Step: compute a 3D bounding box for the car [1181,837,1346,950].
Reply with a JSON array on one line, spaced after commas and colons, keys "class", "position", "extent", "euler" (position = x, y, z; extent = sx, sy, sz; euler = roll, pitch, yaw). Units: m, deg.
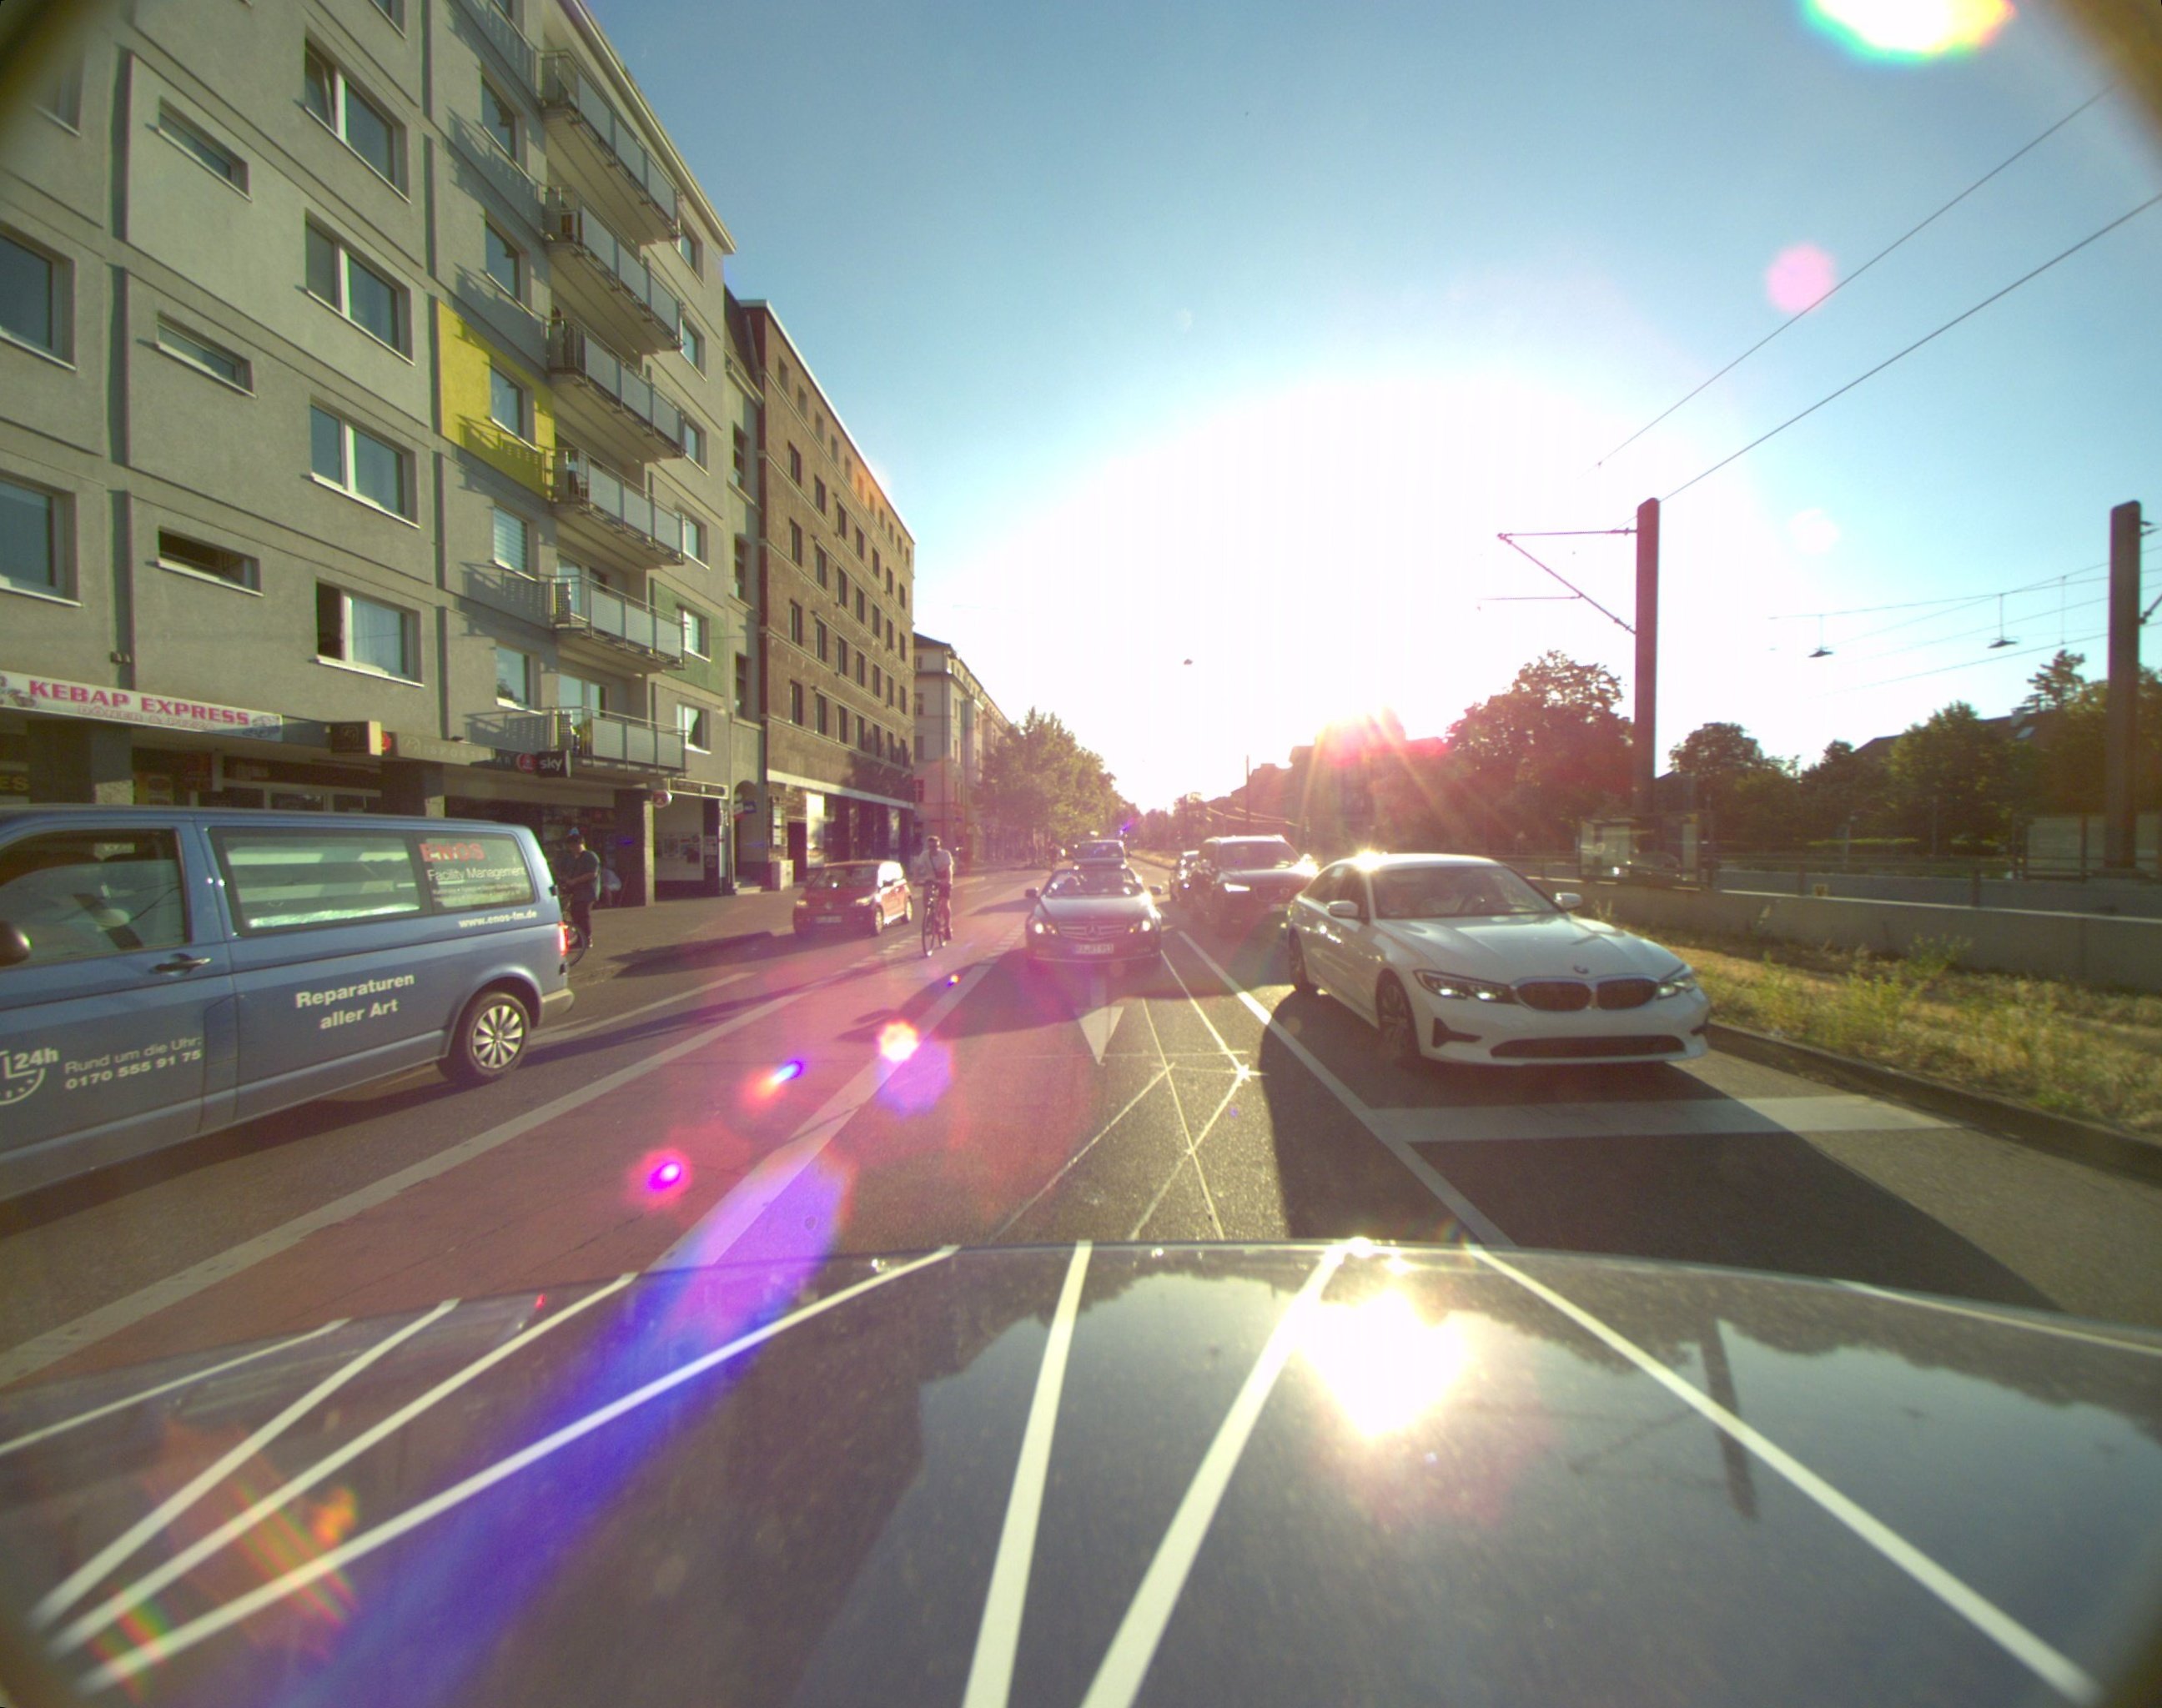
[{"class": "car", "position": [3.237, 0.606, 14.589], "extent": [1.956, 1.702, 4.850], "euler": [-3, 1, 0]}]

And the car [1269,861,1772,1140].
[{"class": "car", "position": [3.039, 0.861, 6.581], "extent": [1.842, 1.393, 4.584], "euler": [-3, 1, 3]}]

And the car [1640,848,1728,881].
[{"class": "car", "position": [33.128, 0.550, 41.913], "extent": [1.714, 1.685, 4.090], "euler": [0, 1, 3]}]

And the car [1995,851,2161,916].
[{"class": "car", "position": [27.406, 0.726, 20.257], "extent": [1.714, 1.531, 3.673], "euler": [0, 1, 3]}]

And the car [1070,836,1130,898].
[{"class": "car", "position": [0.670, 0.393, 26.846], "extent": [1.919, 1.978, 4.946], "euler": [-1, 1, 1]}]

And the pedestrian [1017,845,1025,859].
[{"class": "pedestrian", "position": [-6.241, -0.260, 78.619], "extent": [0.728, 1.431, 0.924], "euler": [-1, 1, 1]}]

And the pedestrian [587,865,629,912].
[{"class": "pedestrian", "position": [-12.166, 0.879, 19.561], "extent": [0.606, 1.145, 0.727], "euler": [-1, 1, 2]}]

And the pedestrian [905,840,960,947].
[{"class": "pedestrian", "position": [-2.347, 0.604, 12.097], "extent": [0.640, 1.639, 0.843], "euler": [-2, 1, 2]}]

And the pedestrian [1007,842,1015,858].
[{"class": "pedestrian", "position": [-7.244, -0.395, 78.897], "extent": [0.728, 1.666, 0.924], "euler": [-1, 1, 1]}]

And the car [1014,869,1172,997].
[{"class": "car", "position": [0.185, 0.934, 10.705], "extent": [1.776, 1.300, 4.240], "euler": [-1, 1, 1]}]

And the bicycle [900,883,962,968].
[{"class": "bicycle", "position": [-2.347, 1.083, 12.061], "extent": [0.530, 1.152, 1.849], "euler": [-2, 1, 2]}]

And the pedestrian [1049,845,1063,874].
[{"class": "pedestrian", "position": [-1.466, 0.301, 44.047], "extent": [0.678, 1.639, 0.902], "euler": [-2, 1, 3]}]

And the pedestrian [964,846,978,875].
[{"class": "pedestrian", "position": [-6.261, 0.369, 43.398], "extent": [0.603, 1.587, 0.884], "euler": [-1, 1, 2]}]

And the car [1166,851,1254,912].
[{"class": "car", "position": [3.420, 0.673, 20.868], "extent": [1.815, 1.393, 3.919], "euler": [-3, 1, 2]}]

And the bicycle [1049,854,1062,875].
[{"class": "bicycle", "position": [-1.474, 0.607, 43.957], "extent": [0.530, 1.152, 1.849], "euler": [-2, 1, 3]}]

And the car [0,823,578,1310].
[{"class": "car", "position": [-5.211, 0.837, 3.857], "extent": [1.941, 1.922, 4.832], "euler": [0, 1, 2]}]

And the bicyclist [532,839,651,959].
[{"class": "bicyclist", "position": [-7.713, 0.675, 12.035], "extent": [1.387, 1.797, 0.743], "euler": [-1, 1, -17]}]

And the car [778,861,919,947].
[{"class": "car", "position": [-4.723, 0.959, 15.953], "extent": [1.687, 1.472, 3.539], "euler": [-2, 1, 2]}]
